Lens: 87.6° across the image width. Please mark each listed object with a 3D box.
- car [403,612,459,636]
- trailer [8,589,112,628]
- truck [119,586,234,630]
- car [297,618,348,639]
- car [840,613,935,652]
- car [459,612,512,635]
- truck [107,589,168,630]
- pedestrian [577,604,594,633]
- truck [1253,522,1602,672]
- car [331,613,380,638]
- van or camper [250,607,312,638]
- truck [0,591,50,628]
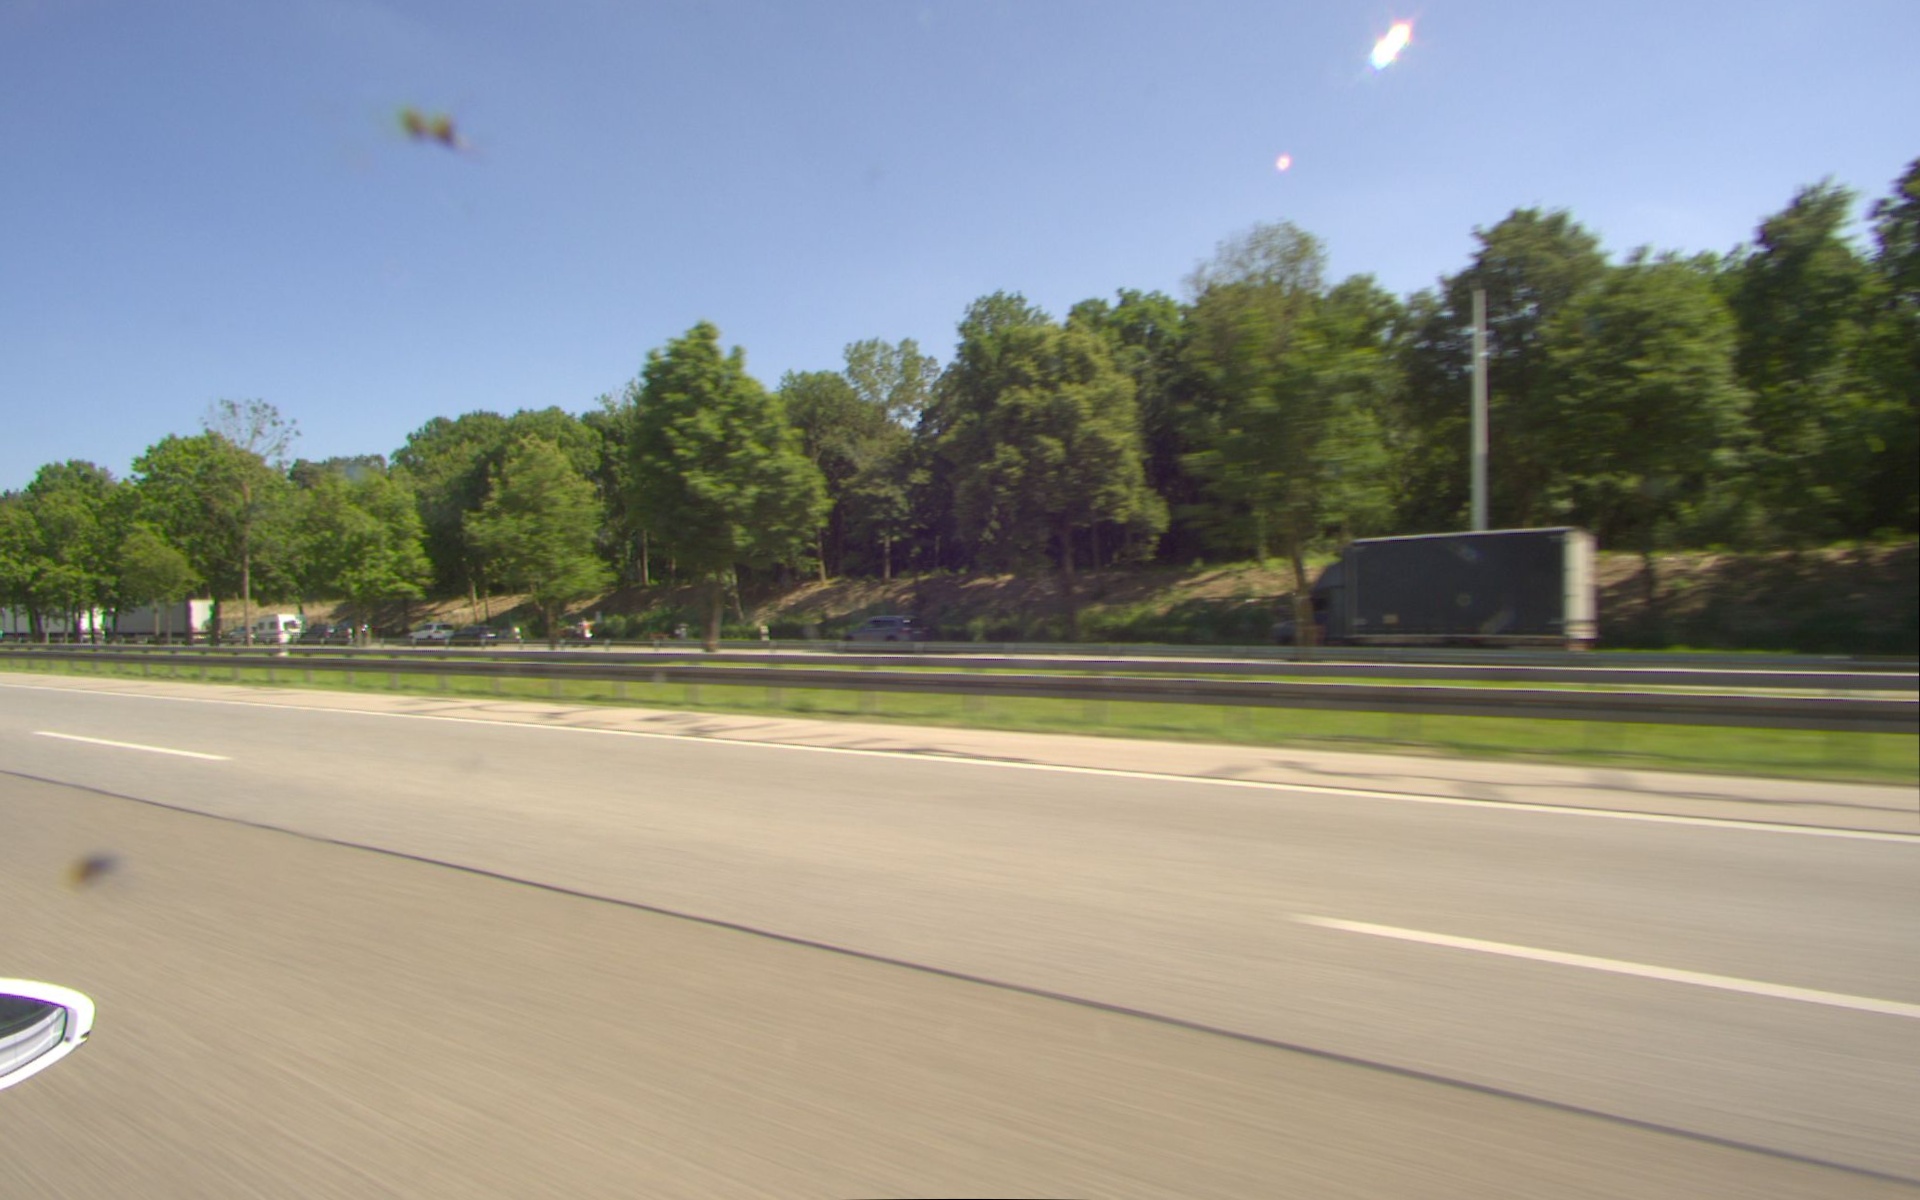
[{"bbox_3d":[-38.760,1.750,73.303,4.587,1.697,1.652,-1,-1,34],"label":"car"},{"bbox_3d":[-94.118,0.919,104.648,13.958,3.846,2.858,-1,-1,25],"label":"trailer"},{"bbox_3d":[-74.319,0.839,94.830,14.235,3.982,2.994,-1,0,28],"label":"truck"},{"bbox_3d":[-51.938,2.295,81.595,4.429,1.663,1.654,-1,0,30],"label":"car"},{"bbox_3d":[-3.403,1.485,46.696,4.269,1.673,1.983,0,0,41],"label":"car"},{"bbox_3d":[-33.329,1.643,70.313,3.954,1.594,1.984,-1,0,41],"label":"car"},{"bbox_3d":[-80.572,0.945,98.124,4.758,3.983,2.968,-1,0,28],"label":"truck"},{"bbox_3d":[-23.100,1.147,61.813,0.793,1.806,0.636,-1,1,-45],"label":"pedestrian"},{"bbox_3d":[14.113,-0.055,30.961,9.250,4.000,3.266,0,1,44],"label":"truck"},{"bbox_3d":[-47.255,2.019,78.253,4.738,1.902,1.650,-1,-1,37],"label":"car"},{"bbox_3d":[-57.657,1.933,84.987,5.792,2.564,2.199,-1,0,33],"label":"van or camper"},{"bbox_3d":[-101.127,1.025,107.905,5.062,3.846,2.809,-1,0,25],"label":"truck"}]
